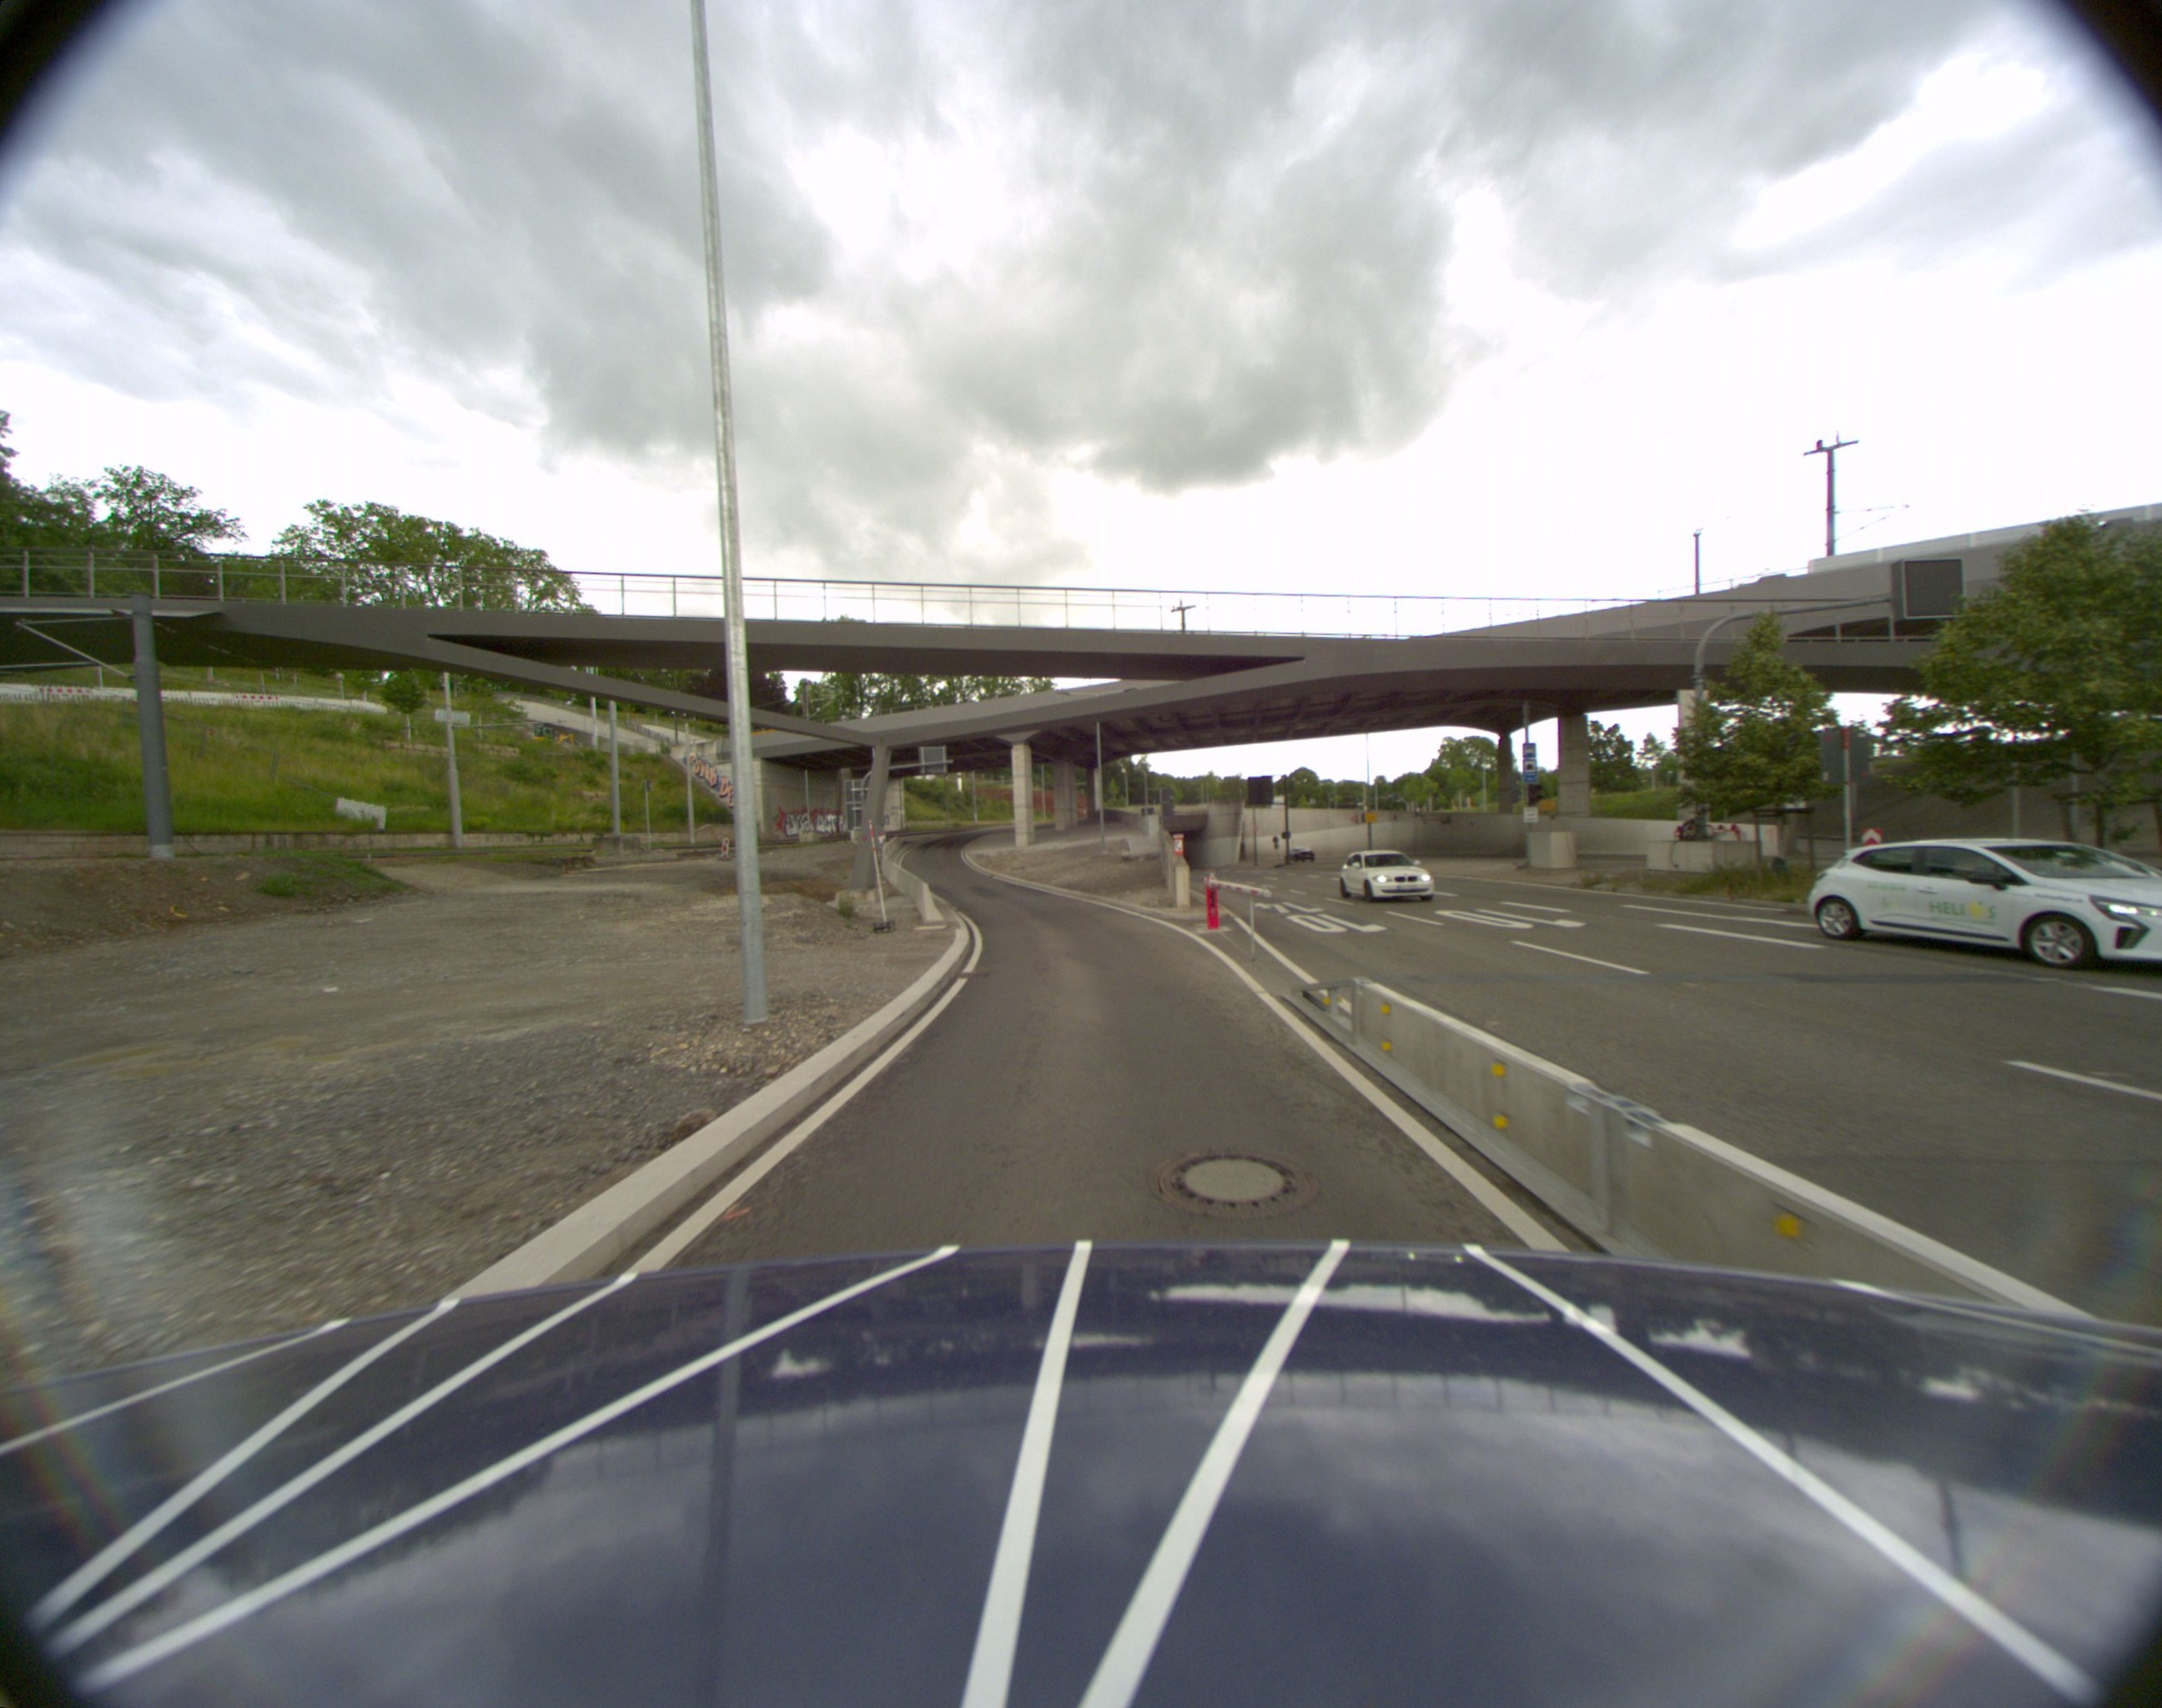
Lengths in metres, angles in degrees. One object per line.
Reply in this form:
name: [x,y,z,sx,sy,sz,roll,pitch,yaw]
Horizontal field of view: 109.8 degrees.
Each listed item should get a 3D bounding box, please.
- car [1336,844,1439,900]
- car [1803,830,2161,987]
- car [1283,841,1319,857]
car: [8.856,0.477,22.309,1.642,1.424,3.983,-3,0,4]
car: [11.428,0.497,9.236,1.579,1.476,3.997,-3,1,3]
car: [20.908,-0.504,72.484,1.794,1.469,4.613,-2,1,-3]
